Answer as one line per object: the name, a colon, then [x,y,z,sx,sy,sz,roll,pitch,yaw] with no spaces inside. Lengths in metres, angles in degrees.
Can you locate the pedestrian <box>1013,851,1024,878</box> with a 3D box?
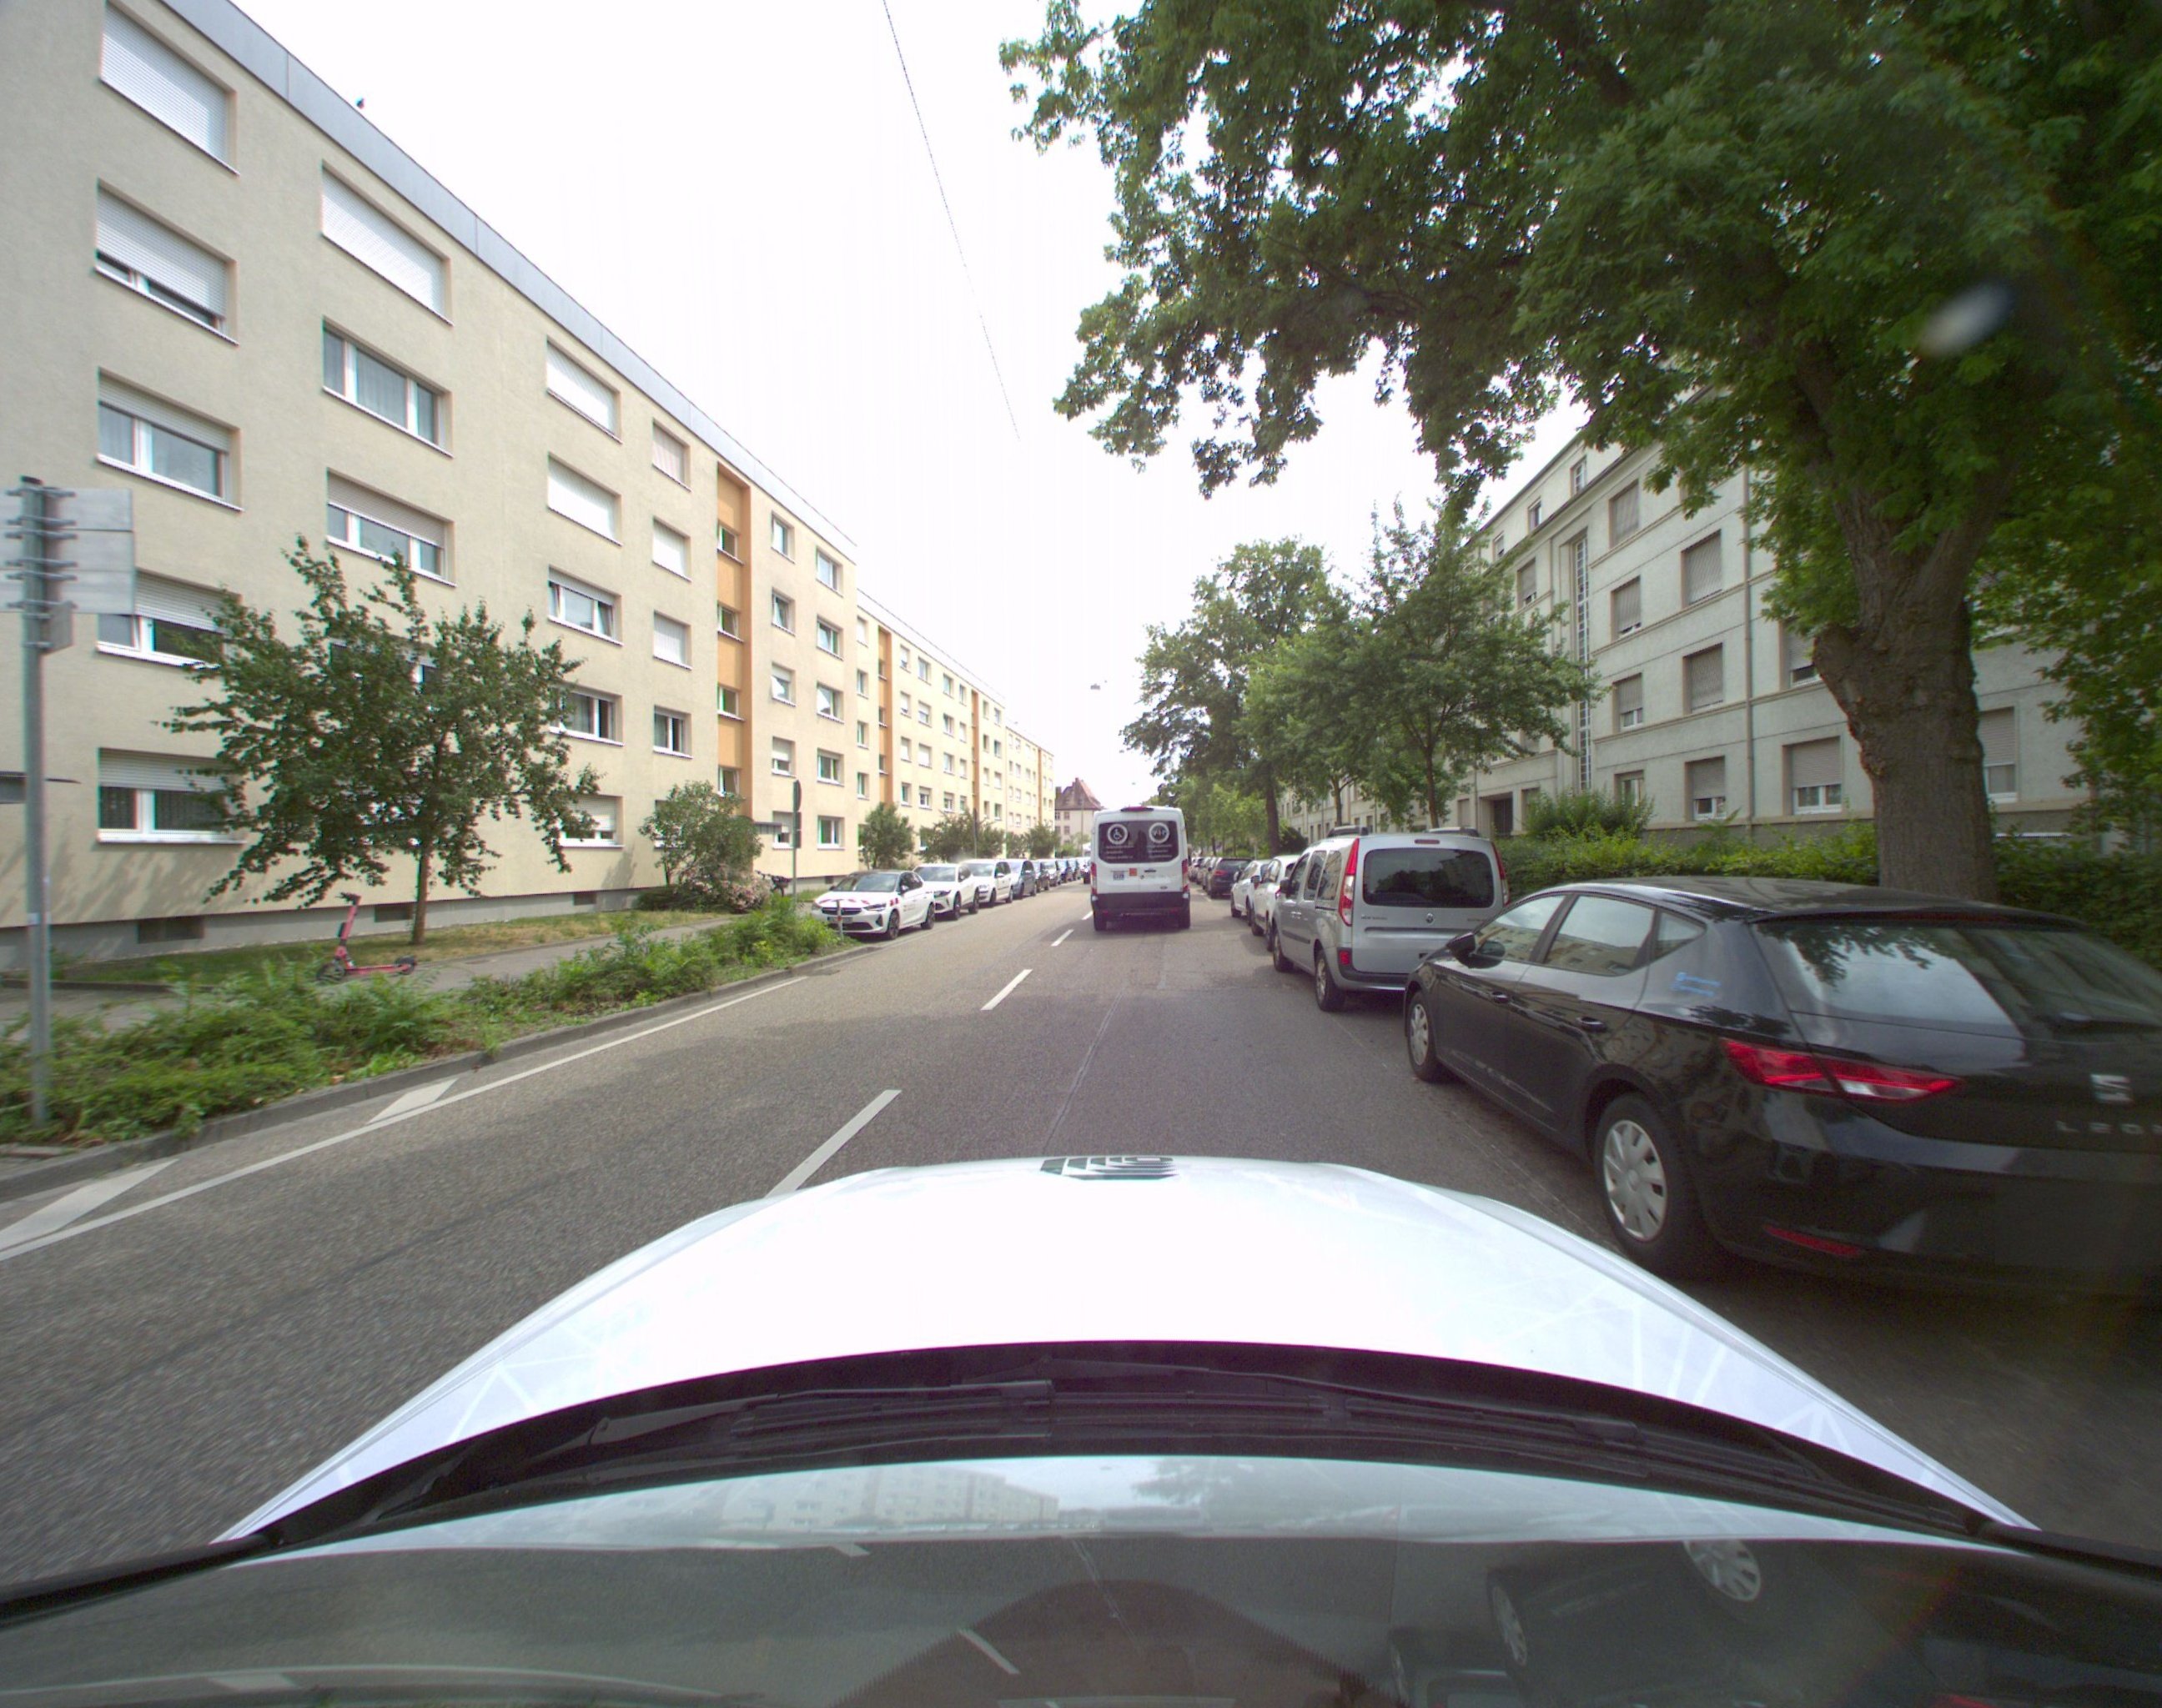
pedestrian: [-4.273,0.704,55.922,0.617,1.813,0.900,0,0,3]

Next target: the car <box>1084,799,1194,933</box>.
car: [1.276,0.252,18.106,2.061,2.540,4.639,-2,-1,4]

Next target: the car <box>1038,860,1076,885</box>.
car: [-1.516,1.165,52.180,1.808,1.483,3.893,0,0,7]

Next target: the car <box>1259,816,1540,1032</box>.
car: [3.314,0.605,9.575,1.908,1.865,4.855,1,0,7]

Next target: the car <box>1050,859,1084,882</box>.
car: [-0.964,1.139,57.564,1.808,1.483,4.124,0,0,7]

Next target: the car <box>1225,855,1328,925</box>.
car: [4.450,0.768,19.096,1.690,1.450,4.105,0,0,4]

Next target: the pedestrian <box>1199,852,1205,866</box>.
pedestrian: [15.674,0.629,105.196,0.526,1.828,0.518,-1,0,-37]

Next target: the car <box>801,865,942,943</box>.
car: [-4.529,1.028,18.253,1.699,1.473,3.997,1,0,7]

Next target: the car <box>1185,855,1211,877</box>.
car: [8.295,0.825,57.646,1.769,1.469,4.625,1,0,8]

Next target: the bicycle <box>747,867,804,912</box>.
bicycle: [-9.330,1.058,24.927,0.574,1.251,1.942,-1,1,16]

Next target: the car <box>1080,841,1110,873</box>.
car: [1.492,0.245,81.382,2.499,3.024,7.406,0,0,5]

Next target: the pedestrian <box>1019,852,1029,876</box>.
pedestrian: [-4.270,0.741,61.250,0.617,1.813,0.804,-2,0,3]

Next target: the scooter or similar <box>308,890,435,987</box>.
scooter or similar: [-9.745,1.122,11.236,0.398,1.193,1.295,0,0,17]

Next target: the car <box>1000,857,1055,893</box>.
car: [-2.549,0.969,39.820,1.932,1.613,4.309,1,0,6]

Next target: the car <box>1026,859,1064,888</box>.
car: [-2.020,1.067,46.809,1.662,1.561,3.856,1,0,4]

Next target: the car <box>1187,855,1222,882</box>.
car: [7.215,0.824,47.737,1.689,1.469,4.724,1,0,5]

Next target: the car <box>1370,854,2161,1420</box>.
car: [2.981,0.736,4.217,1.908,1.444,4.247,1,0,7]

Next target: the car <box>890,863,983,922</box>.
car: [-4.060,1.040,23.506,1.701,1.473,3.993,1,0,4]

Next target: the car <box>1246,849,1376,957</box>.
car: [3.880,0.736,14.292,1.596,1.608,3.812,1,0,7]

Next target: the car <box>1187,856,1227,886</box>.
car: [6.504,0.841,42.499,1.689,1.469,4.759,1,0,4]

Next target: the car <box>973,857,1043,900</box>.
car: [-3.000,0.966,34.404,1.932,1.613,4.871,1,0,7]

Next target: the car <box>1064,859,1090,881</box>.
car: [-0.292,1.245,63.644,1.715,1.539,4.009,-1,1,4]

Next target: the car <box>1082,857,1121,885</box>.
car: [1.324,1.009,50.255,1.941,1.521,4.620,-3,0,6]

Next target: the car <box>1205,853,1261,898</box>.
car: [5.396,0.710,29.287,1.688,1.469,4.108,1,0,6]

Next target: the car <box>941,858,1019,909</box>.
car: [-3.499,0.973,28.997,1.688,1.613,4.486,1,0,7]
